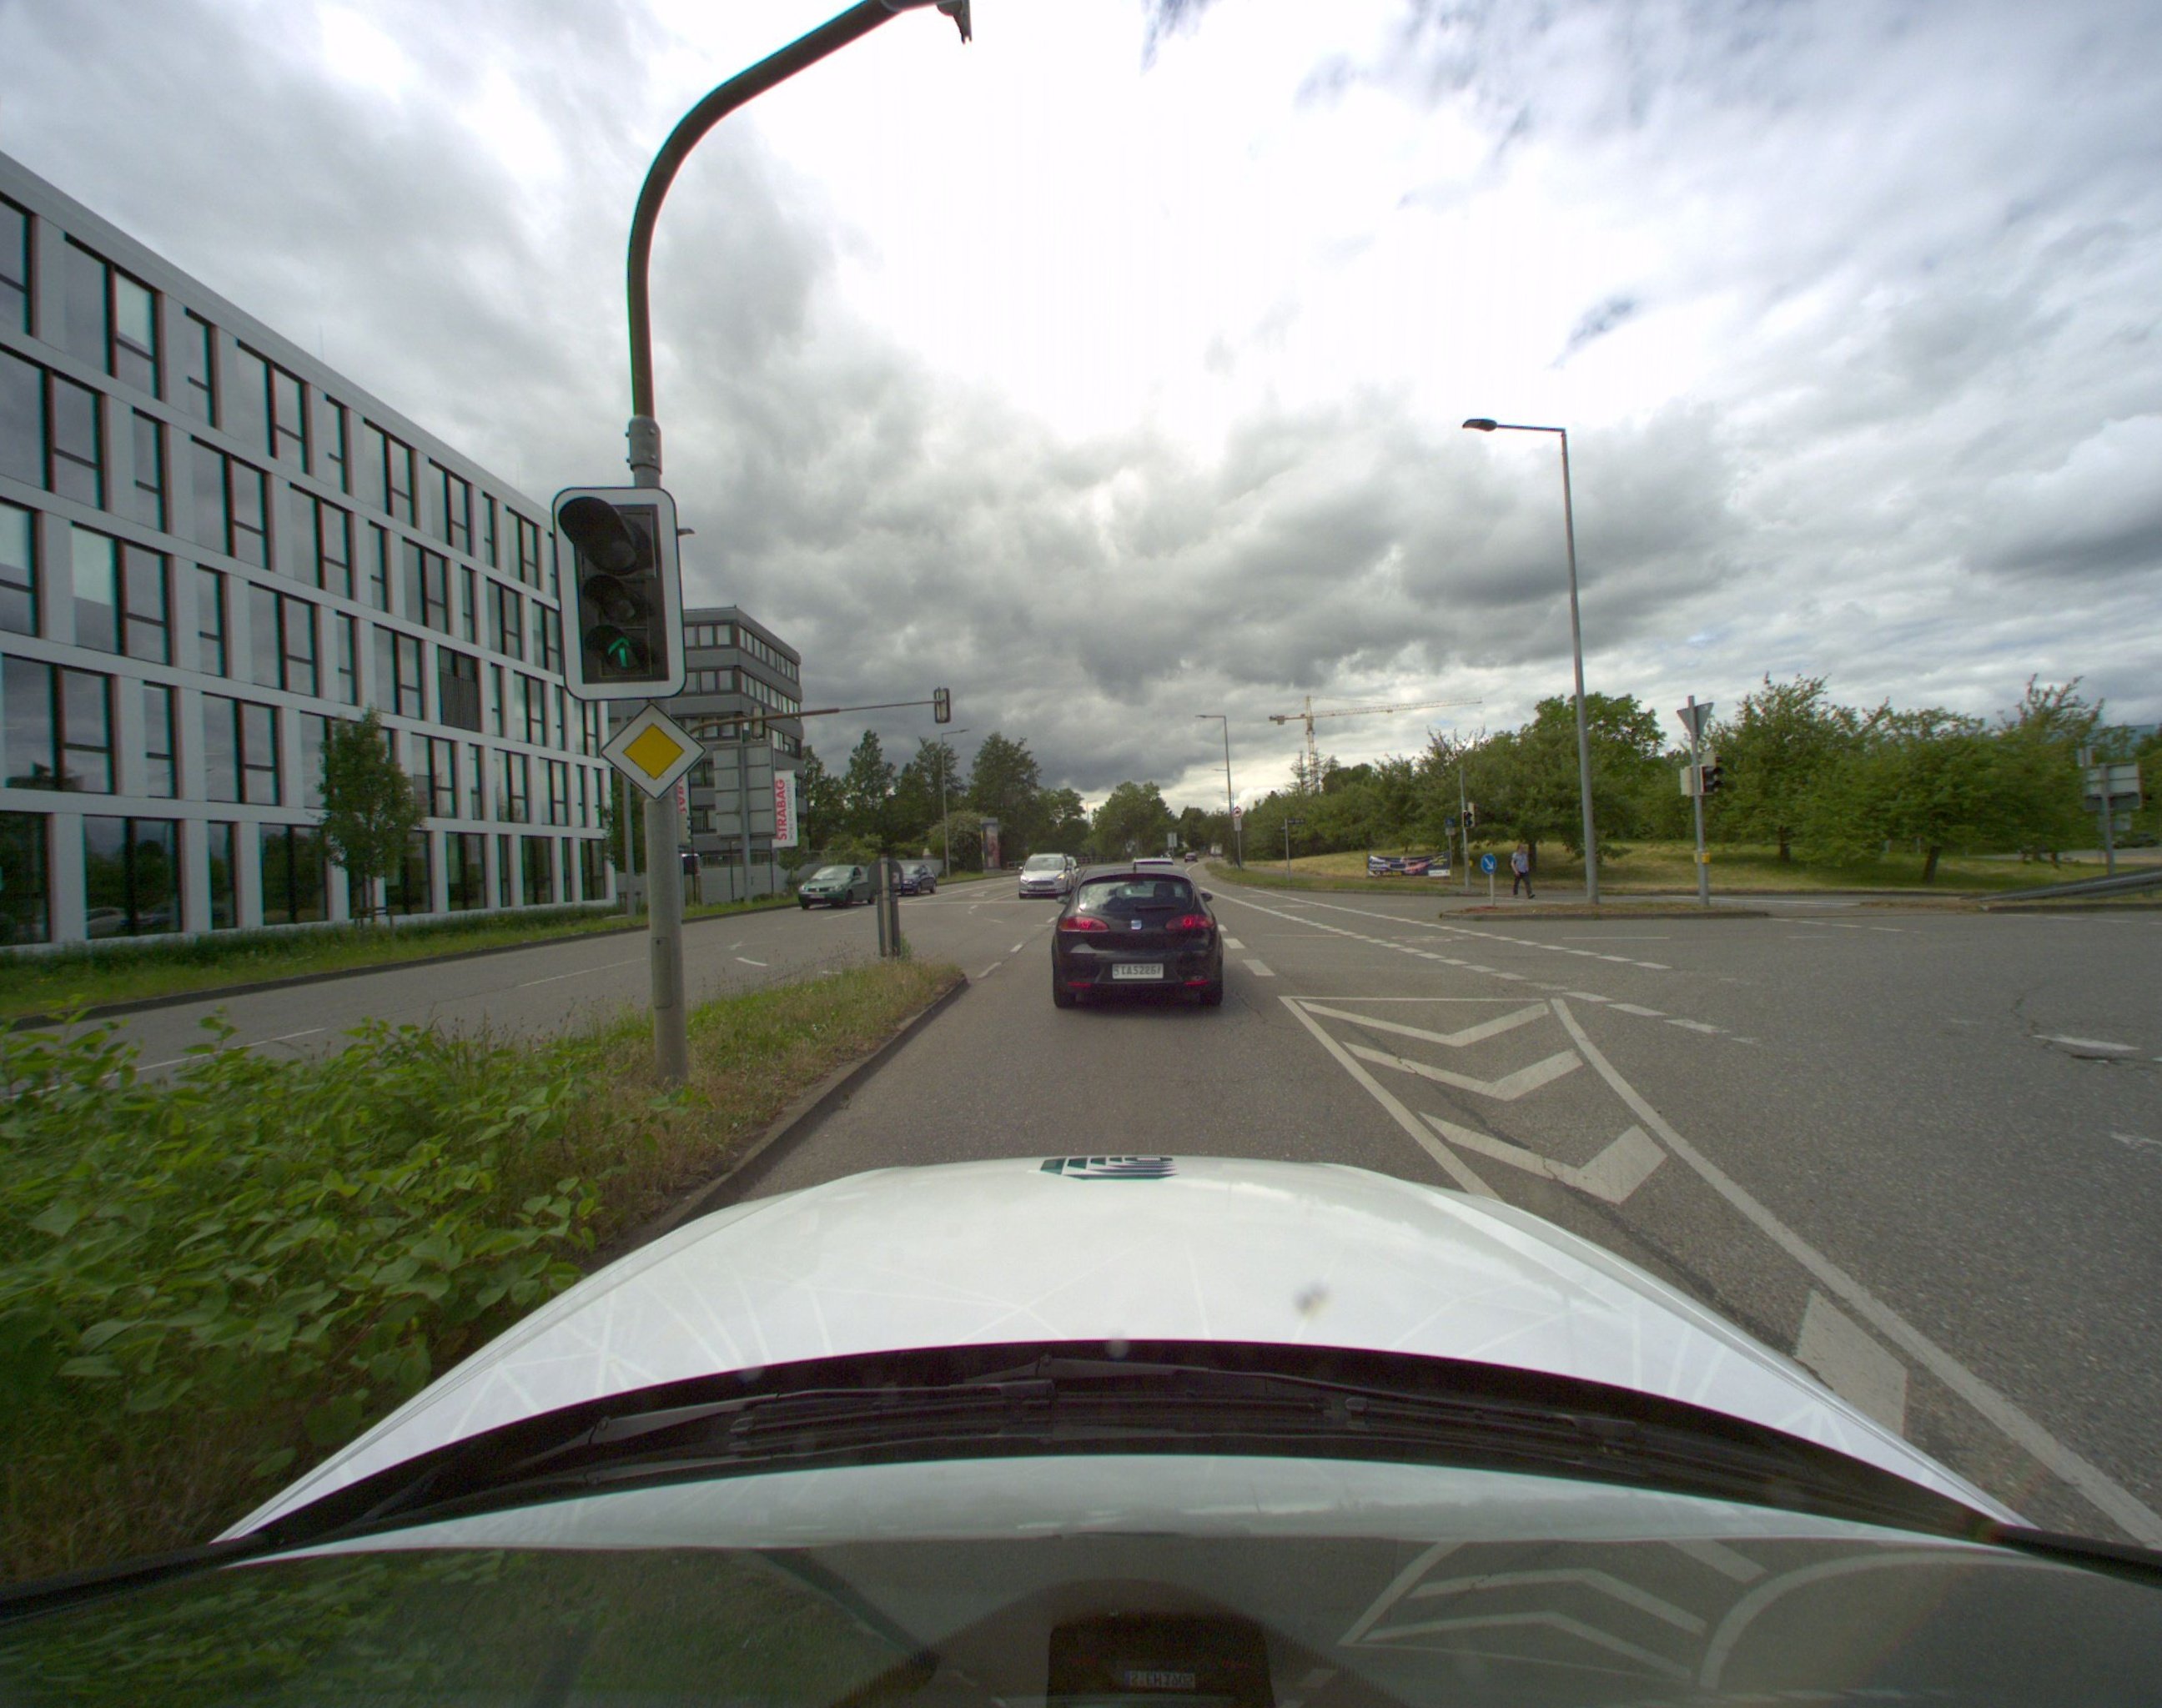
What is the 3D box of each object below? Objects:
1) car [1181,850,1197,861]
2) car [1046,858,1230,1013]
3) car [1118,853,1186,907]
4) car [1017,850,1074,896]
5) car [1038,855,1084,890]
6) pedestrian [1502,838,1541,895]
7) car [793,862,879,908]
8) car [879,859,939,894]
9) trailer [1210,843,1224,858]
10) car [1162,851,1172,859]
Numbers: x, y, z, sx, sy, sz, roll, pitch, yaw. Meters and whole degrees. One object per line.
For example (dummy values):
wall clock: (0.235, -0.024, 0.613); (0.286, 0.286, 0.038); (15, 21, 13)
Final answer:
car: (16.035, 0.181, 120.573); (1.980, 1.565, 4.485); (-2, 0, 12)
car: (0.570, 0.771, 9.368); (1.705, 1.417, 3.460); (-1, 0, 1)
car: (2.034, 0.746, 24.280); (1.827, 1.467, 3.753); (-1, -1, 2)
car: (-1.352, 0.705, 32.445); (1.813, 1.686, 4.648); (-1, 0, 3)
car: (-0.897, 0.818, 38.404); (1.652, 1.518, 4.090); (-1, 0, 5)
pedestrian: (14.180, 0.412, 26.229); (0.715, 1.793, 1.045); (-1, -1, 5)
car: (-8.406, 1.018, 28.251); (1.599, 1.432, 3.756); (-1, 0, 3)
car: (-7.643, 0.974, 36.551); (1.547, 1.419, 3.901); (-1, 0, 4)
trailer: (29.947, -0.781, 179.014); (2.474, 3.073, 5.607); (-1, -1, 13)
car: (17.624, 0.121, 166.589); (1.702, 1.581, 3.755); (-1, -1, 13)
